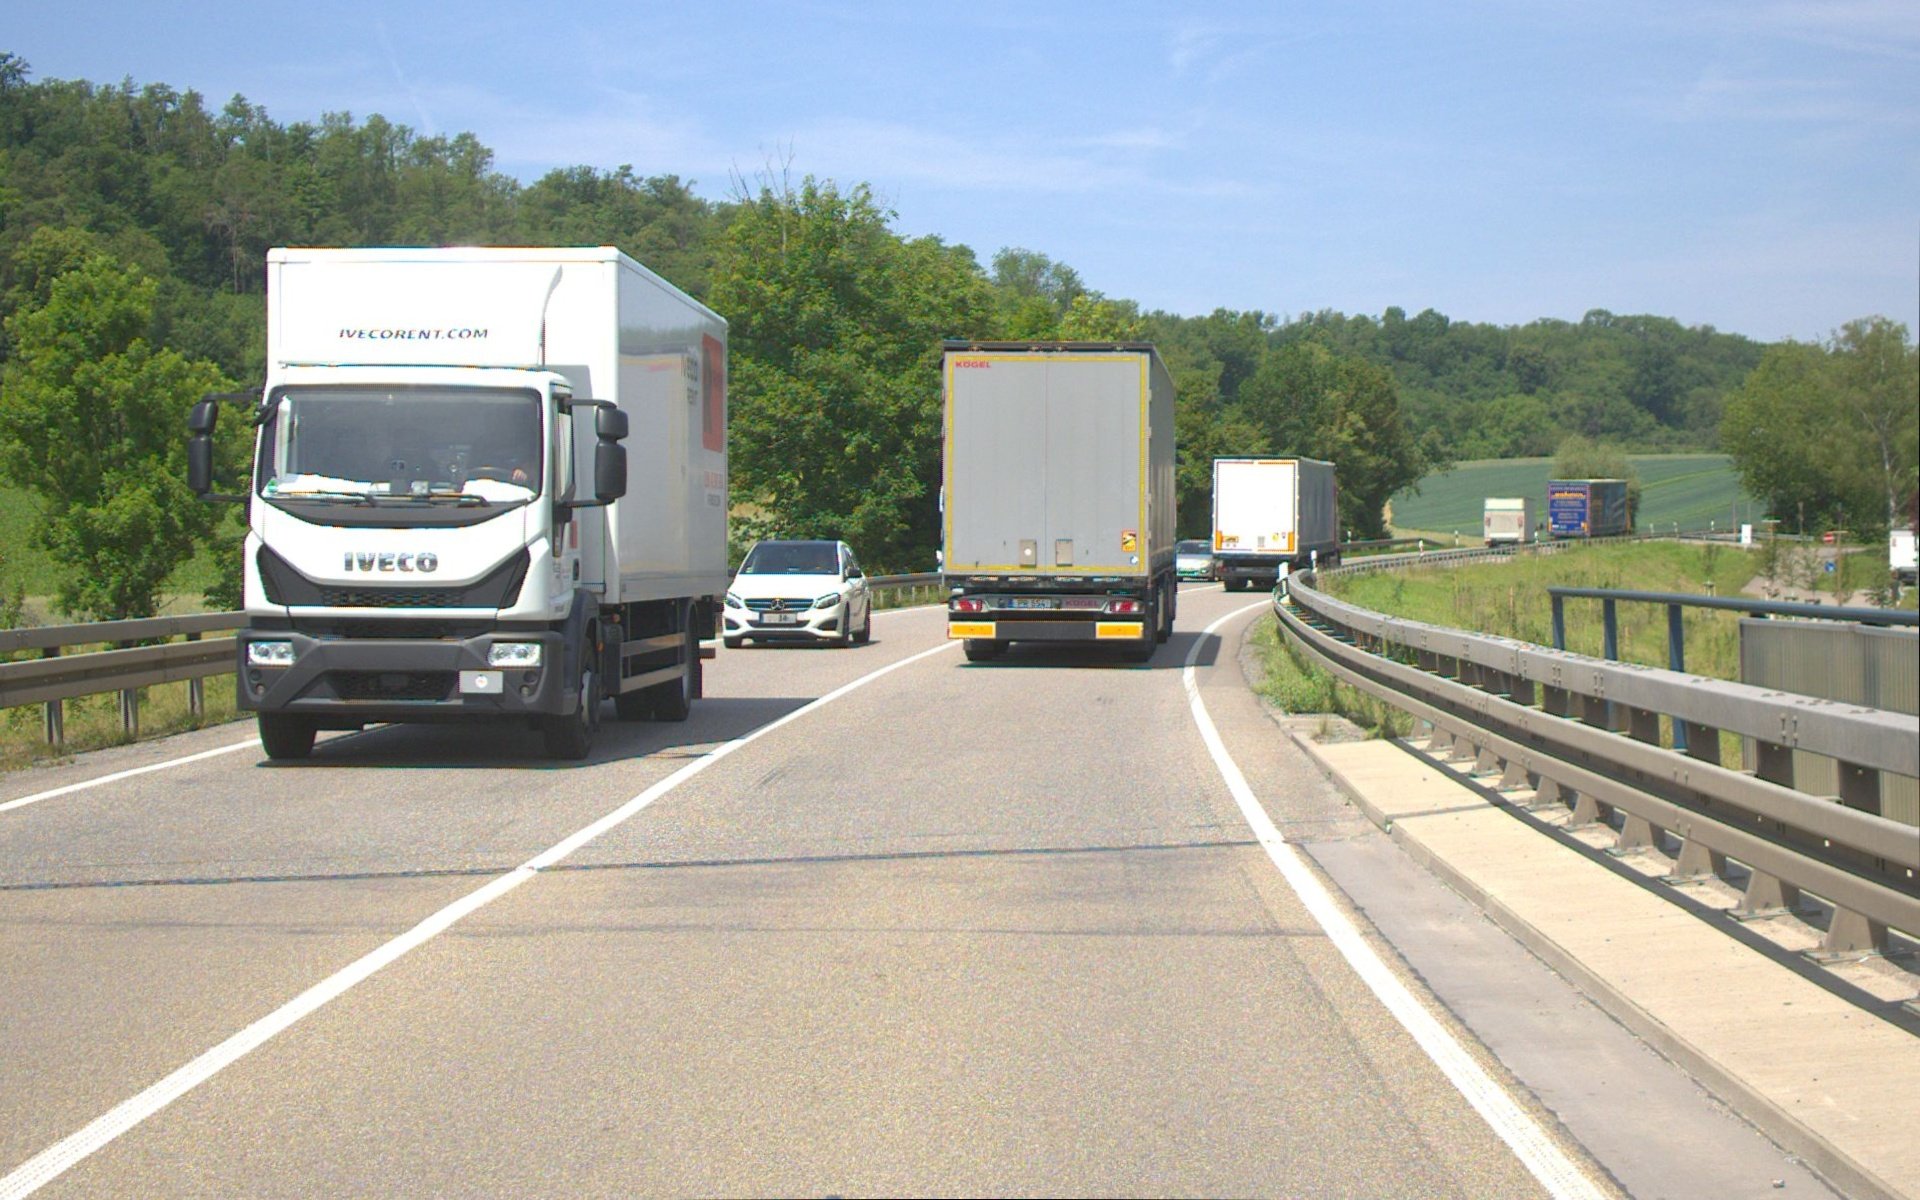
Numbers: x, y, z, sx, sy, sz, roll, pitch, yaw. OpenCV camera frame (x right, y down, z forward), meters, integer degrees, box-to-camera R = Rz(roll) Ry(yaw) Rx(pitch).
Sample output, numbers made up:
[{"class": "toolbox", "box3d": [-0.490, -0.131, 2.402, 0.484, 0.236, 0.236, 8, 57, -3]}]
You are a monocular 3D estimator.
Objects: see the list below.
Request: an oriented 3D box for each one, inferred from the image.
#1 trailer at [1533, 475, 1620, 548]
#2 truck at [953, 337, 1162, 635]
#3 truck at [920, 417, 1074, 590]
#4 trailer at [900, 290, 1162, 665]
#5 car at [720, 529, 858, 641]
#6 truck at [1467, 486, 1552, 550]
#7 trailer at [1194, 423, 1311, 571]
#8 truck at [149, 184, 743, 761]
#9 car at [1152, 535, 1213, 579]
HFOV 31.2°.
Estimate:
[{"class": "trailer", "box3d": [37.553, -5.324, 209.141, 3.651, 4.248, 12.184, 0, 1, 18]}, {"class": "truck", "box3d": [1.628, -1.815, 55.189, 3.118, 4.479, 6.811, 0, 2, 3]}, {"class": "truck", "box3d": [0.955, -2.228, 81.880, 3.119, 3.944, 6.621, 0, 0, 5]}, {"class": "trailer", "box3d": [1.254, -1.666, 48.256, 3.118, 4.484, 13.885, 0, 2, 3]}, {"class": "car", "box3d": [-2.467, -0.248, 50.433, 1.758, 1.506, 4.000, 0, 2, 1]}, {"class": "truck", "box3d": [30.025, -4.423, 187.454, 3.225, 3.354, 11.866, 0, 1, 15]}, {"class": "trailer", "box3d": [9.221, -3.089, 107.399, 3.366, 4.302, 13.861, 0, 1, 6]}, {"class": "truck", "box3d": [-3.699, -0.933, 27.509, 2.915, 3.790, 9.708, 0, 1, 2]}, {"class": "car", "box3d": [7.703, -1.483, 118.773, 1.768, 1.489, 4.169, 0, 1, 9]}]
